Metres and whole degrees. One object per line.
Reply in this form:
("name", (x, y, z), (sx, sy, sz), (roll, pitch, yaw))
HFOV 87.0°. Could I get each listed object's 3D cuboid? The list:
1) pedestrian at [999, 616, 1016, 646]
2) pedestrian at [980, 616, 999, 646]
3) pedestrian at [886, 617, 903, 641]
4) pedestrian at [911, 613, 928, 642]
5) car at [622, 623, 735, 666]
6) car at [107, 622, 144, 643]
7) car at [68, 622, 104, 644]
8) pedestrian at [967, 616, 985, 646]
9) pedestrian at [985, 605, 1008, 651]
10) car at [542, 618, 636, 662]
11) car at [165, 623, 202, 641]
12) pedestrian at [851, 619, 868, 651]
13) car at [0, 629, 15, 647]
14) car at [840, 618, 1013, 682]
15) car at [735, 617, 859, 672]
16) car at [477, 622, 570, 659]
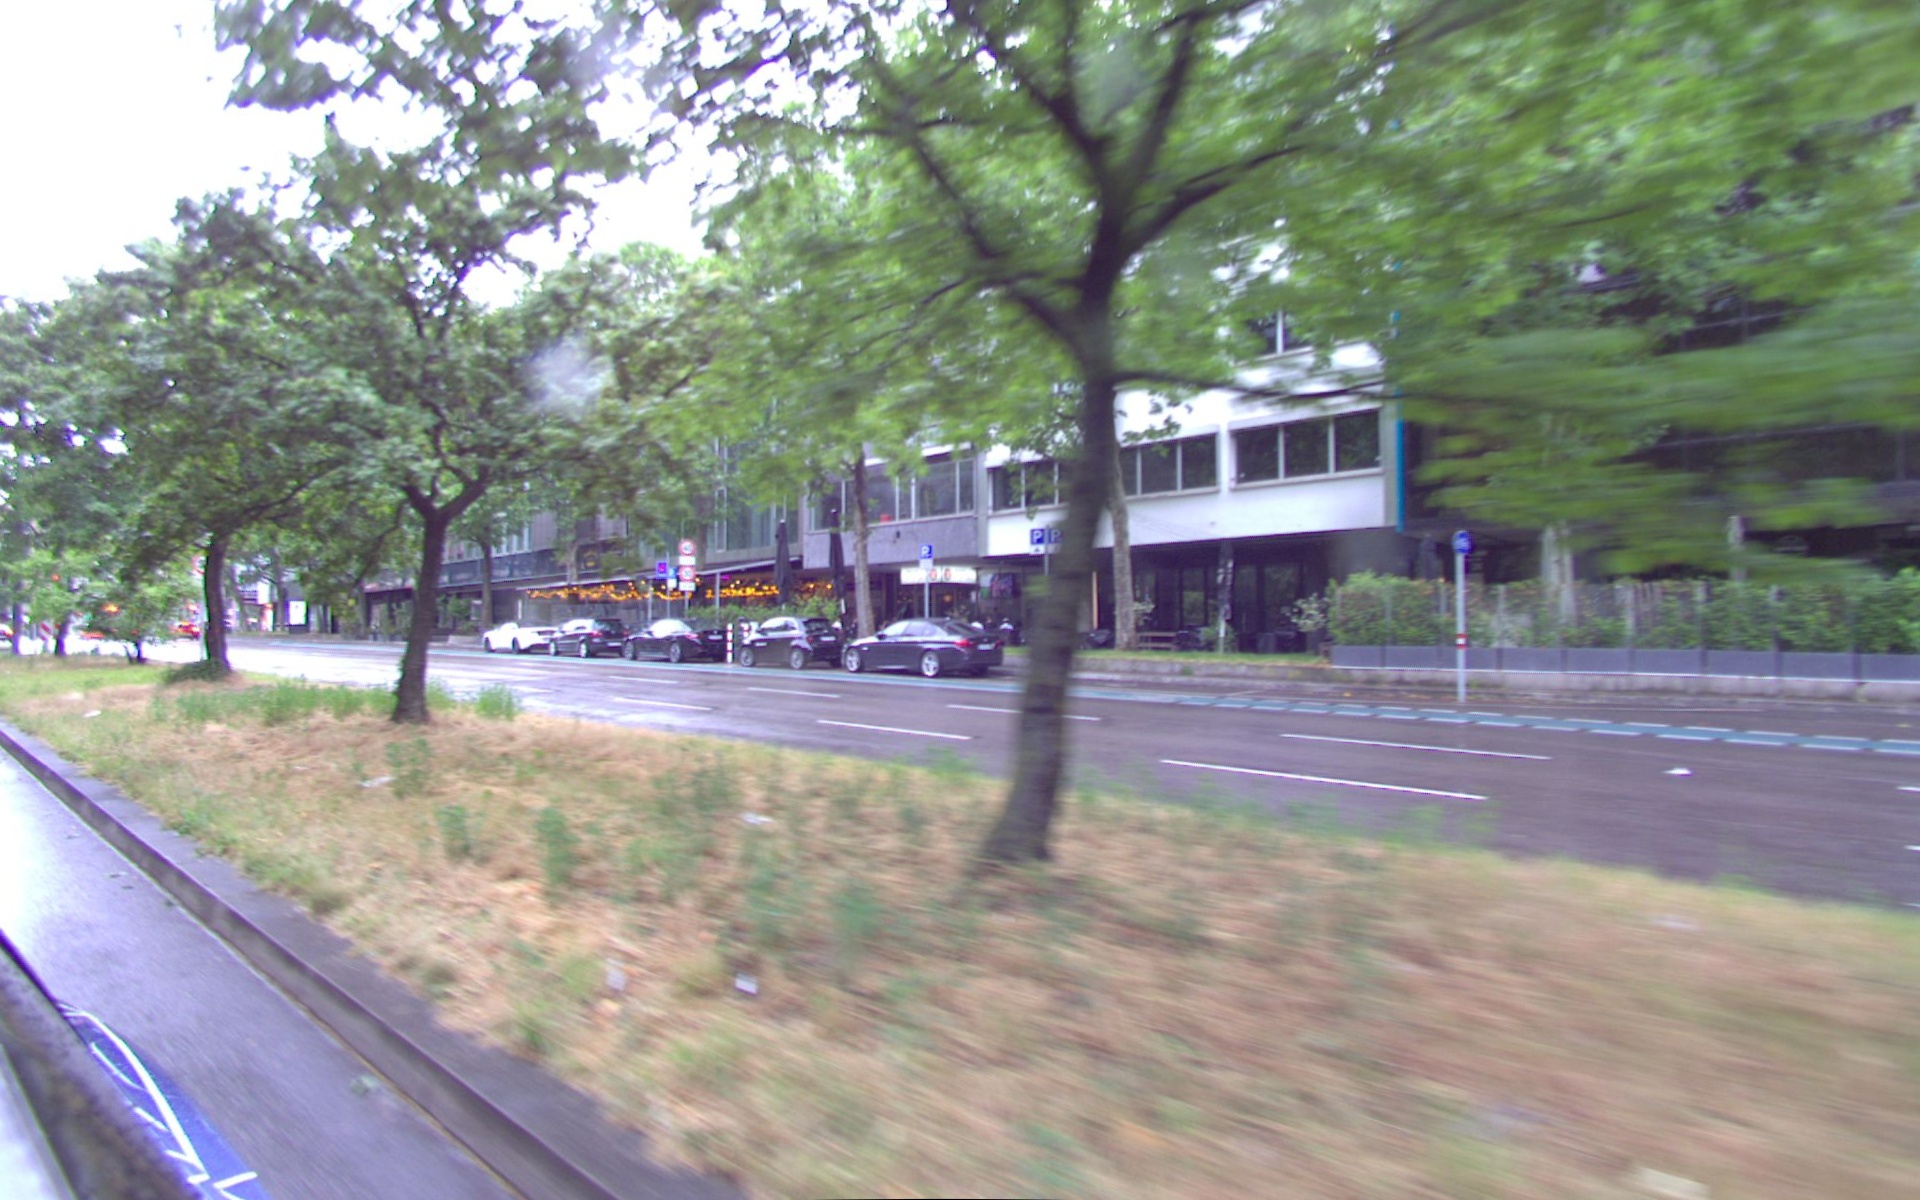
("pedestrian", (1.599, 1.045, 34.101), (0.451, 0.970, 0.454), (0, 0, 26))
("pedestrian", (0.995, 1.054, 34.315), (0.488, 1.008, 0.481), (0, 0, 26))
("pedestrian", (-2.426, 1.081, 37.591), (0.433, 0.856, 0.435), (0, 0, 39))
("pedestrian", (-1.477, 1.001, 36.603), (0.423, 1.024, 0.459), (0, 0, 39))
("car", (-9.376, 1.422, 33.526), (4.319, 1.249, 1.625), (0, 0, 43))
("car", (-69.441, 2.662, 84.165), (3.726, 1.586, 1.758), (0, 0, 40))
("car", (-77.079, 2.926, 89.221), (3.954, 1.799, 1.913), (0, 0, 42))
("pedestrian", (0.551, 1.059, 34.676), (0.461, 1.000, 0.455), (0, 0, 26))
("pedestrian", (1.366, 1.038, 37.734), (0.623, 1.660, 0.599), (0, 0, 37))
("car", (-13.853, 1.451, 37.730), (3.788, 1.464, 1.727), (0, 0, 42))
("car", (-63.434, 2.634, 82.681), (3.737, 1.335, 1.742), (0, 0, 42))
("pedestrian", (-3.819, 1.331, 38.574), (0.444, 1.195, 0.462), (0, 0, 31))
("car", (-80.155, 3.161, 84.286), (3.524, 1.400, 1.657), (0, 0, 39))
("car", (-0.939, 1.209, 25.917), (4.539, 1.396, 1.850), (0, 0, 45))
("car", (-4.757, 1.236, 29.430), (3.400, 1.433, 1.851), (0, 0, 42))
("car", (-17.934, 1.616, 41.528), (4.391, 1.336, 1.856), (0, 0, 42))
